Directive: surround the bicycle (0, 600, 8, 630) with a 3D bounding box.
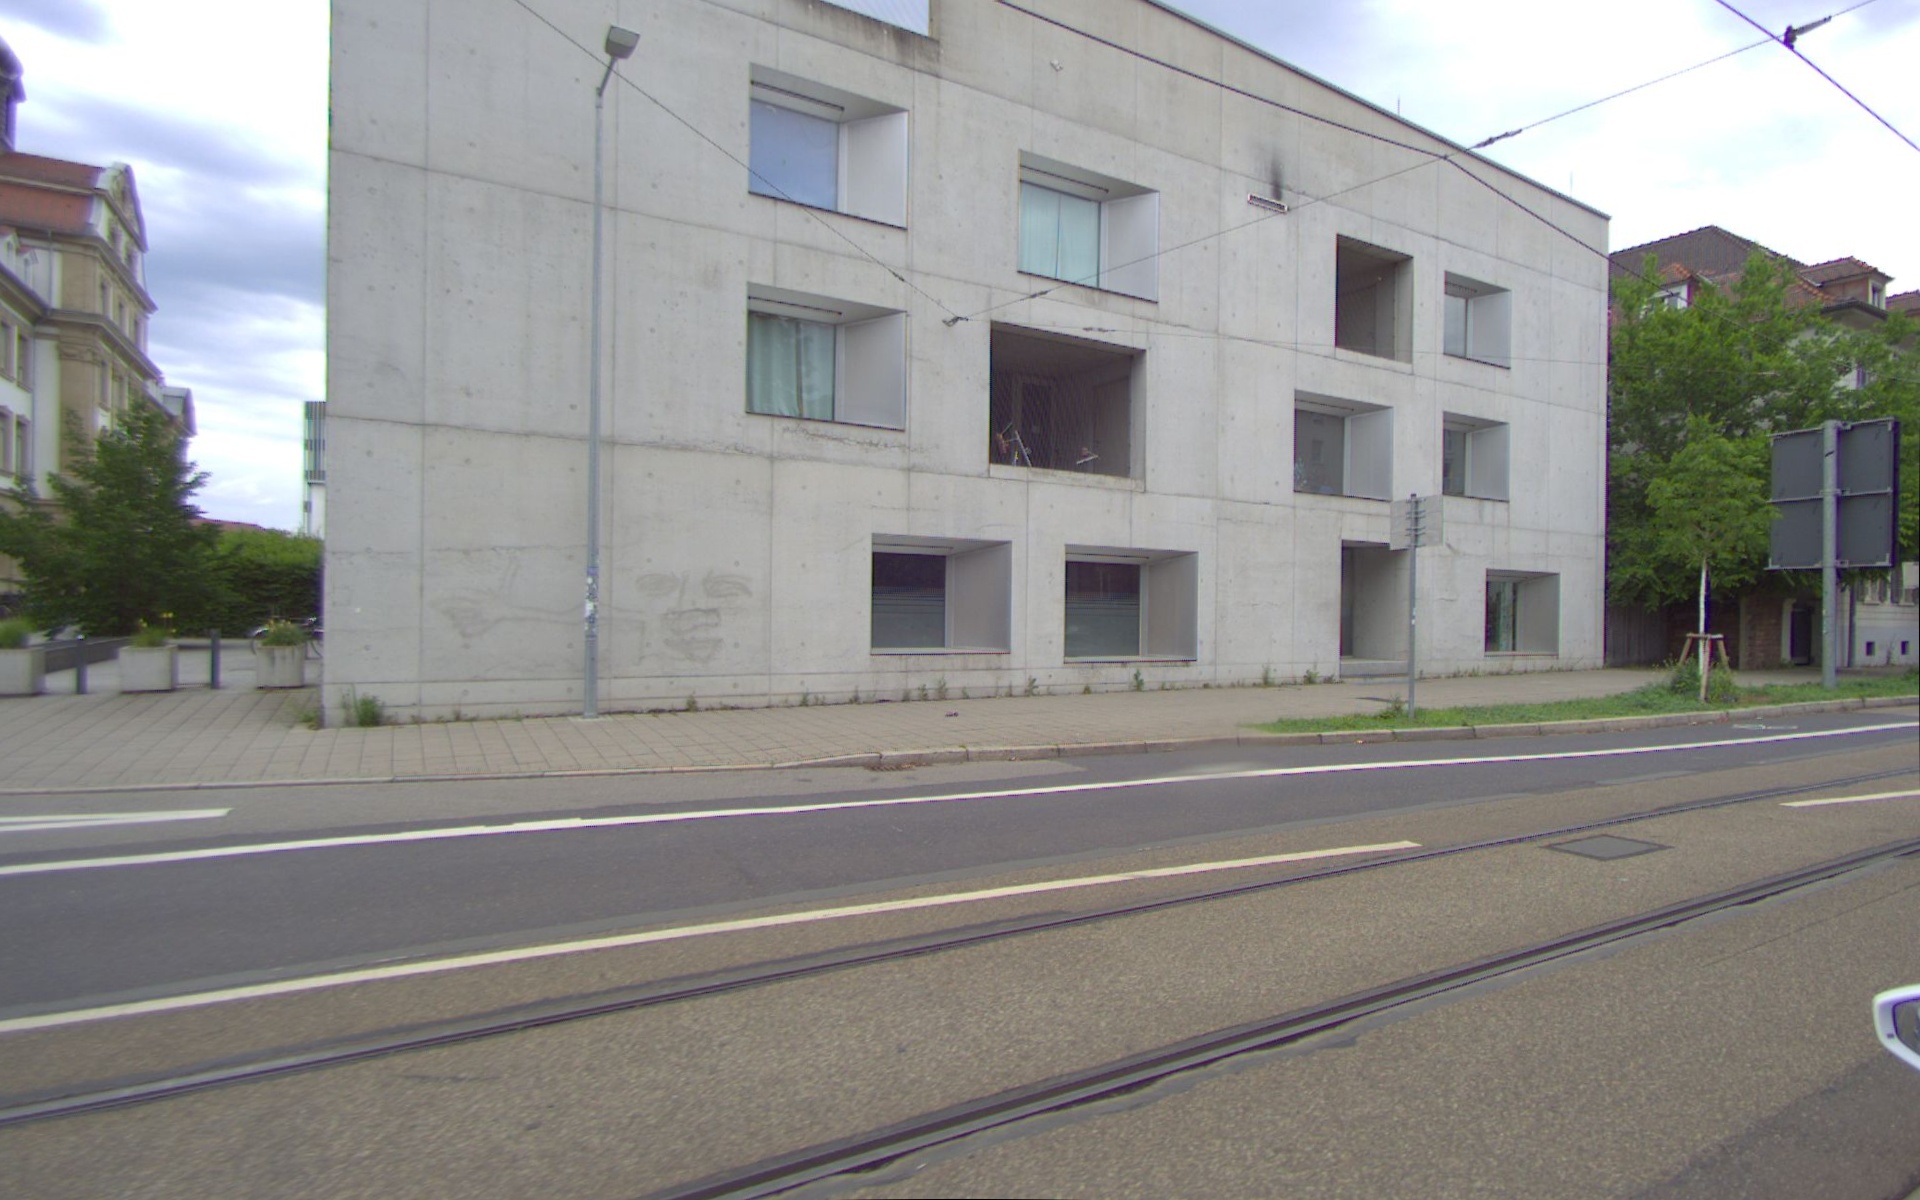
[{"bbox_3d":[-36.934,0.514,37.465,1.904,1.088,0.611,4,-1,-25],"label":"bicycle"}]

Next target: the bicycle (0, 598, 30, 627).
[{"bbox_3d":[-38.234,0.456,39.794,1.846,1.088,0.647,4,-1,-25],"label":"bicycle"}]

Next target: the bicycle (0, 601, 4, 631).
[{"bbox_3d":[-35.471,0.517,35.762,1.904,1.088,0.715,4,-1,-25],"label":"bicycle"}]

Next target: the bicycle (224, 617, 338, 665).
[{"bbox_3d":[-15.183,0.902,22.521,2.067,1.032,0.658,1,-1,-31],"label":"bicycle"}]

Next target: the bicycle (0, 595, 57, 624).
[{"bbox_3d":[-39.760,0.406,42.659,1.904,1.088,0.715,4,-1,-25],"label":"bicycle"}]

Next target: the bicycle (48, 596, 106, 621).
[{"bbox_3d":[-42.198,0.418,48.014,1.904,1.088,0.715,4,-1,-25],"label":"bicycle"}]

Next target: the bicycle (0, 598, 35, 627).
[{"bbox_3d":[-38.721,0.492,40.661,1.693,1.088,0.544,4,-2,-25],"label":"bicycle"}]

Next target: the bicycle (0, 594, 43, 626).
[{"bbox_3d":[-39.294,0.410,41.605,1.756,1.231,0.584,4,-1,-25],"label":"bicycle"}]
